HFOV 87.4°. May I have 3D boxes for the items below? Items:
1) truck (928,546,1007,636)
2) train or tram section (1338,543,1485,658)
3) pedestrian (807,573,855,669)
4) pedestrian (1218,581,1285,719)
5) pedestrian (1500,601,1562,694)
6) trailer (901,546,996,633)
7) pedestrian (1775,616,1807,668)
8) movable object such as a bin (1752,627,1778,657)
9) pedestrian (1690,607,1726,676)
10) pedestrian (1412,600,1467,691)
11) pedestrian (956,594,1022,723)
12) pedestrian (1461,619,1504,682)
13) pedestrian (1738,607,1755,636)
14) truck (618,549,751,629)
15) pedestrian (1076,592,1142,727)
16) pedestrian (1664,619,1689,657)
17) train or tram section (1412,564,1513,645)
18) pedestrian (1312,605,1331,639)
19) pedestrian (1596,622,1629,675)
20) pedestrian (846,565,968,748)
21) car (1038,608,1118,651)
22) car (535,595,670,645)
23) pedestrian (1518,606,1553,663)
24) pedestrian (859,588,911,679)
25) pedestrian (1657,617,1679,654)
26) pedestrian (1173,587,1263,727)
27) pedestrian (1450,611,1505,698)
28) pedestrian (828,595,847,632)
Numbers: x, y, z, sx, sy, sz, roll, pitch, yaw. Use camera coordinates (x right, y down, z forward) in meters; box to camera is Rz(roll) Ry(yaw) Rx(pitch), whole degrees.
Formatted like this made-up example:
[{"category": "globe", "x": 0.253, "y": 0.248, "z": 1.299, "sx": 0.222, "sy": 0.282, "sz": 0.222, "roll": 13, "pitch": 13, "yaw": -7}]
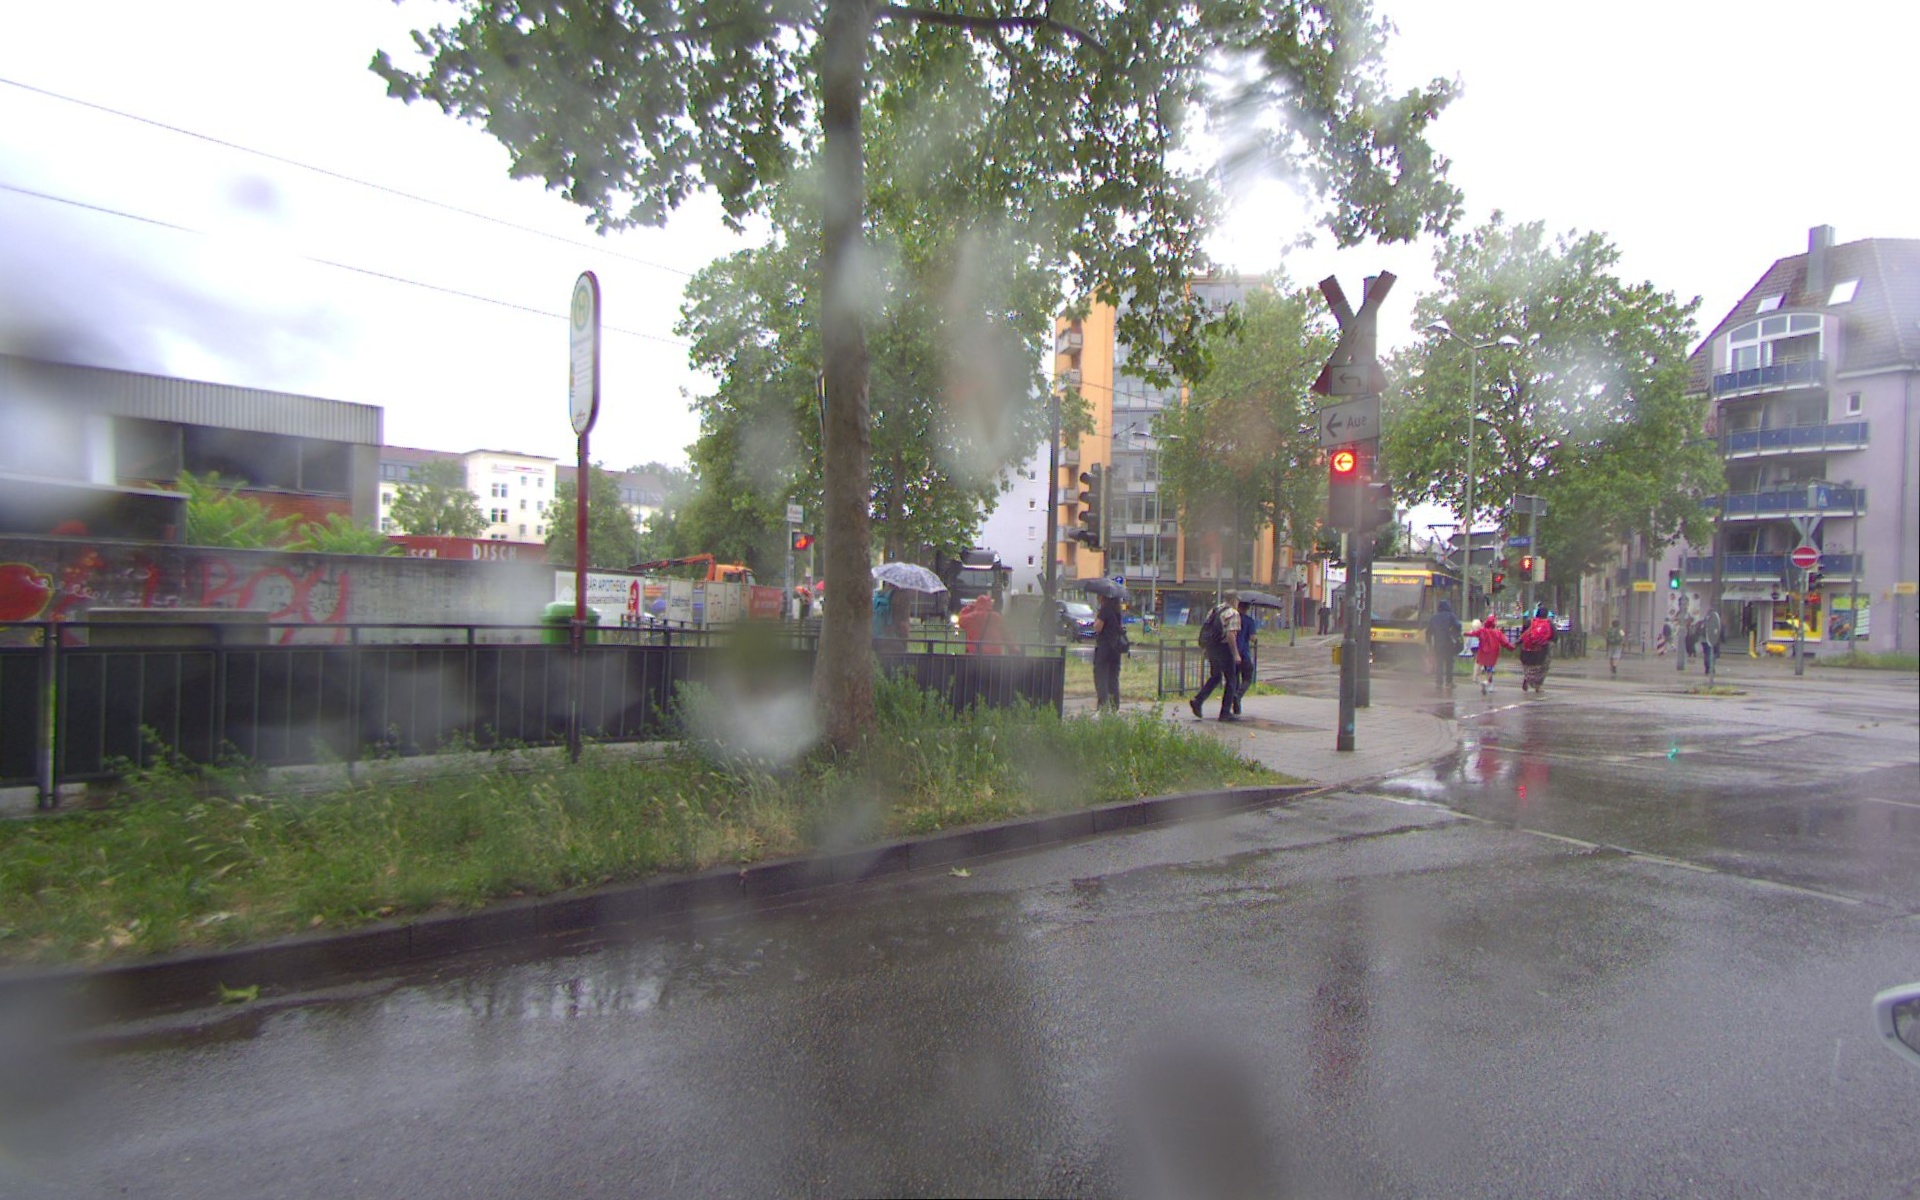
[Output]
[{"category": "truck", "x": 0.274, "y": -0.389, "z": 46.053, "sx": 2.593, "sy": 3.842, "sz": 4.444, "roll": 2, "pitch": 0, "yaw": -13}, {"category": "train or tram section", "x": 17.749, "y": 0.088, "z": 38.569, "sx": 2.820, "sy": 3.593, "sz": 15.333, "roll": 2, "pitch": 0, "yaw": 33}, {"category": "pedestrian", "x": -2.635, "y": 0.421, "z": 20.498, "sx": 0.768, "sy": 1.891, "sz": 0.936, "roll": 2, "pitch": 0, "yaw": -18}, {"category": "pedestrian", "x": 4.153, "y": 0.688, "z": 14.341, "sx": 0.854, "sy": 1.889, "sz": 0.892, "roll": 1, "pitch": 0, "yaw": 16}, {"category": "pedestrian", "x": 10.333, "y": 0.833, "z": 18.187, "sx": 0.809, "sy": 1.646, "sz": 0.724, "roll": 0, "pitch": 0, "yaw": -37}, {"category": "trailer", "x": -0.820, "y": -0.465, "z": 50.744, "sx": 2.593, "sy": 3.899, "sz": 10.114, "roll": 2, "pitch": 0, "yaw": -13}, {"category": "pedestrian", "x": 35.687, "y": 1.785, "z": 43.145, "sx": 0.880, "sy": 2.179, "sz": 0.900, "roll": 2, "pitch": 0, "yaw": -41}, {"category": "movable object such as a bin", "x": 35.077, "y": 1.836, "z": 43.775, "sx": 0.662, "sy": 1.253, "sz": 0.744, "roll": 2, "pitch": 0, "yaw": -41}, {"category": "pedestrian", "x": 21.099, "y": 1.151, "z": 28.337, "sx": 0.777, "sy": 1.880, "sz": 0.679, "roll": 2, "pitch": 1, "yaw": 37}, {"category": "pedestrian", "x": 9.347, "y": 0.879, "z": 19.616, "sx": 0.823, "sy": 1.721, "sz": 0.689, "roll": -2, "pitch": 0, "yaw": 17}, {"category": "pedestrian", "x": 0.373, "y": 0.734, "z": 12.844, "sx": 0.782, "sy": 1.593, "sz": 0.659, "roll": -2, "pitch": 0, "yaw": 2}, {"category": "pedestrian", "x": 11.715, "y": 1.117, "z": 22.520, "sx": 0.704, "sy": 1.367, "sz": 0.650, "roll": 1, "pitch": 1, "yaw": -44}, {"category": "pedestrian", "x": 37.050, "y": 1.014, "z": 47.325, "sx": 0.554, "sy": 1.347, "sz": 0.442, "roll": 2, "pitch": 0, "yaw": -28}, {"category": "truck", "x": -11.905, "y": -0.435, "z": 43.608, "sx": 5.383, "sy": 3.205, "sz": 2.164, "roll": 2, "pitch": 0, "yaw": -16}, {"category": "pedestrian", "x": 1.955, "y": 0.768, "z": 13.190, "sx": 0.782, "sy": 1.705, "sz": 0.660, "roll": -2, "pitch": 0, "yaw": 8}, {"category": "pedestrian", "x": 30.708, "y": 1.616, "z": 43.039, "sx": 0.738, "sy": 1.553, "sz": 0.790, "roll": 2, "pitch": 0, "yaw": 28}, {"category": "train or tram section", "x": 25.636, "y": 0.269, "z": 50.759, "sx": 2.821, "sy": 3.593, "sz": 13.677, "roll": 2, "pitch": 0, "yaw": 34}, {"category": "pedestrian", "x": 19.731, "y": 1.180, "z": 54.827, "sx": 0.941, "sy": 1.789, "sz": 0.952, "roll": 2, "pitch": 0, "yaw": 20}, {"category": "pedestrian", "x": 17.974, "y": 1.330, "z": 27.692, "sx": 0.638, "sy": 1.414, "sz": 0.782, "roll": 1, "pitch": 0, "yaw": 26}, {"category": "pedestrian", "x": -0.547, "y": 0.585, "z": 10.770, "sx": 0.966, "sy": 1.851, "sz": 1.077, "roll": -2, "pitch": 0, "yaw": 15}, {"category": "car", "x": 4.683, "y": 1.131, "z": 40.431, "sx": 1.585, "sy": 1.551, "sz": 4.017, "roll": 1, "pitch": 1, "yaw": -19}, {"category": "car", "x": -10.427, "y": 0.577, "z": 29.399, "sx": 3.447, "sy": 1.323, "sz": 1.405, "roll": 2, "pitch": 0, "yaw": 10}, {"category": "pedestrian", "x": 18.778, "y": 1.113, "z": 32.768, "sx": 0.943, "sy": 1.789, "sz": 0.951, "roll": 2, "pitch": 0, "yaw": 31}, {"category": "pedestrian", "x": -1.495, "y": 0.653, "z": 20.051, "sx": 0.675, "sy": 1.752, "sz": 0.752, "roll": 2, "pitch": 1, "yaw": 42}, {"category": "pedestrian", "x": 32.533, "y": 1.623, "z": 46.149, "sx": 0.663, "sy": 1.622, "sz": 0.966, "roll": 2, "pitch": 0, "yaw": 29}, {"category": "pedestrian", "x": 3.439, "y": 0.725, "z": 13.399, "sx": 0.855, "sy": 1.778, "sz": 0.826, "roll": 2, "pitch": 1, "yaw": 41}, {"category": "pedestrian", "x": 9.480, "y": 0.979, "z": 18.409, "sx": 0.654, "sy": 1.540, "sz": 0.676, "roll": 1, "pitch": 0, "yaw": -39}, {"category": "pedestrian", "x": -6.392, "y": 0.681, "z": 52.520, "sx": 0.765, "sy": 1.891, "sz": 0.940, "roll": 2, "pitch": 0, "yaw": 4}]
